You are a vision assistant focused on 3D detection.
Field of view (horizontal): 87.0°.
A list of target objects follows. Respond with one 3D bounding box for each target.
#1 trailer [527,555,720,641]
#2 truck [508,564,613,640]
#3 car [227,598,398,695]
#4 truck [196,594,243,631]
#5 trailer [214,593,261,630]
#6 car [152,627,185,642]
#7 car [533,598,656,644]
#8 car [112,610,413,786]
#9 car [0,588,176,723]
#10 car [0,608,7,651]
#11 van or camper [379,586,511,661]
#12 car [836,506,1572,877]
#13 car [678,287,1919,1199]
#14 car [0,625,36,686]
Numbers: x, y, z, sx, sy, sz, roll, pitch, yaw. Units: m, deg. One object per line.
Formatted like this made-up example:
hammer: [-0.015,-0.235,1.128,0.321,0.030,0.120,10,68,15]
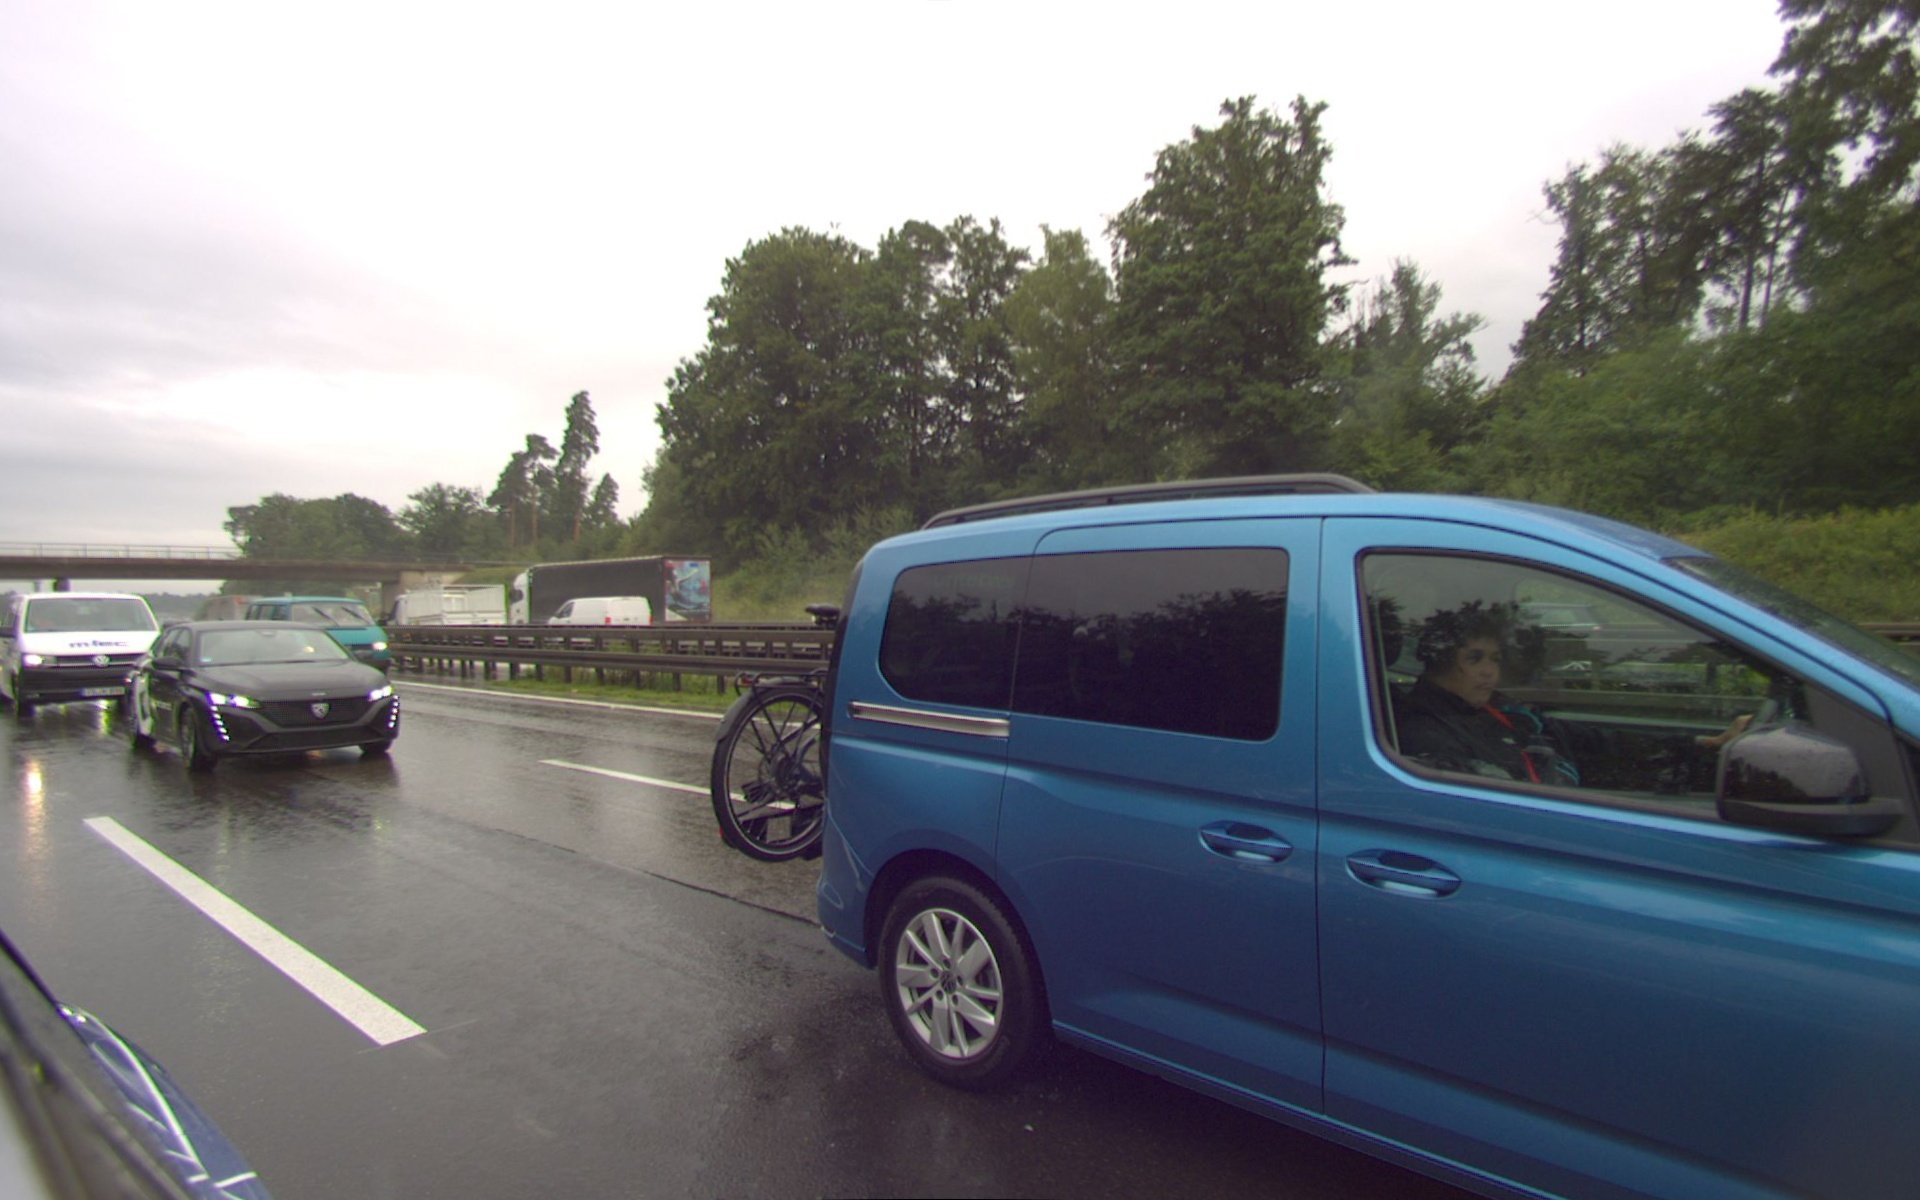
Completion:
trailer: [-17.124,0.044,50.545,13.560,3.847,2.991,-2,-1,43]
truck: [-21.700,0.147,54.849,6.265,3.847,2.987,-2,-1,44]
car: [-14.086,0.929,21.905,4.757,1.877,1.890,-1,0,41]
truck: [-83.853,1.445,114.518,10.030,3.961,2.674,-2,-1,44]
trailer: [-77.188,1.248,107.989,2.652,3.847,9.011,0,-1,-45]
car: [-71.801,3.103,91.764,3.755,1.314,1.683,-2,-1,41]
car: [-12.946,0.753,35.739,4.702,1.519,1.974,-2,-2,39]
car: [-7.765,0.895,11.076,4.467,1.516,1.825,-1,0,43]
car: [-14.558,0.822,16.599,4.767,1.894,1.968,-2,-1,43]
car: [-37.426,1.153,38.102,4.767,1.572,1.968,-2,-1,43]
van or camper: [-18.178,0.812,35.562,5.699,2.441,2.204,-1,-1,42]
car: [1.518,0.513,7.848,5.241,1.958,1.970,-1,0,42]
car: [1.521,0.485,3.092,5.014,1.926,2.245,-2,-1,42]
car: [-25.913,1.433,26.798,4.467,1.516,1.825,-1,-1,43]
